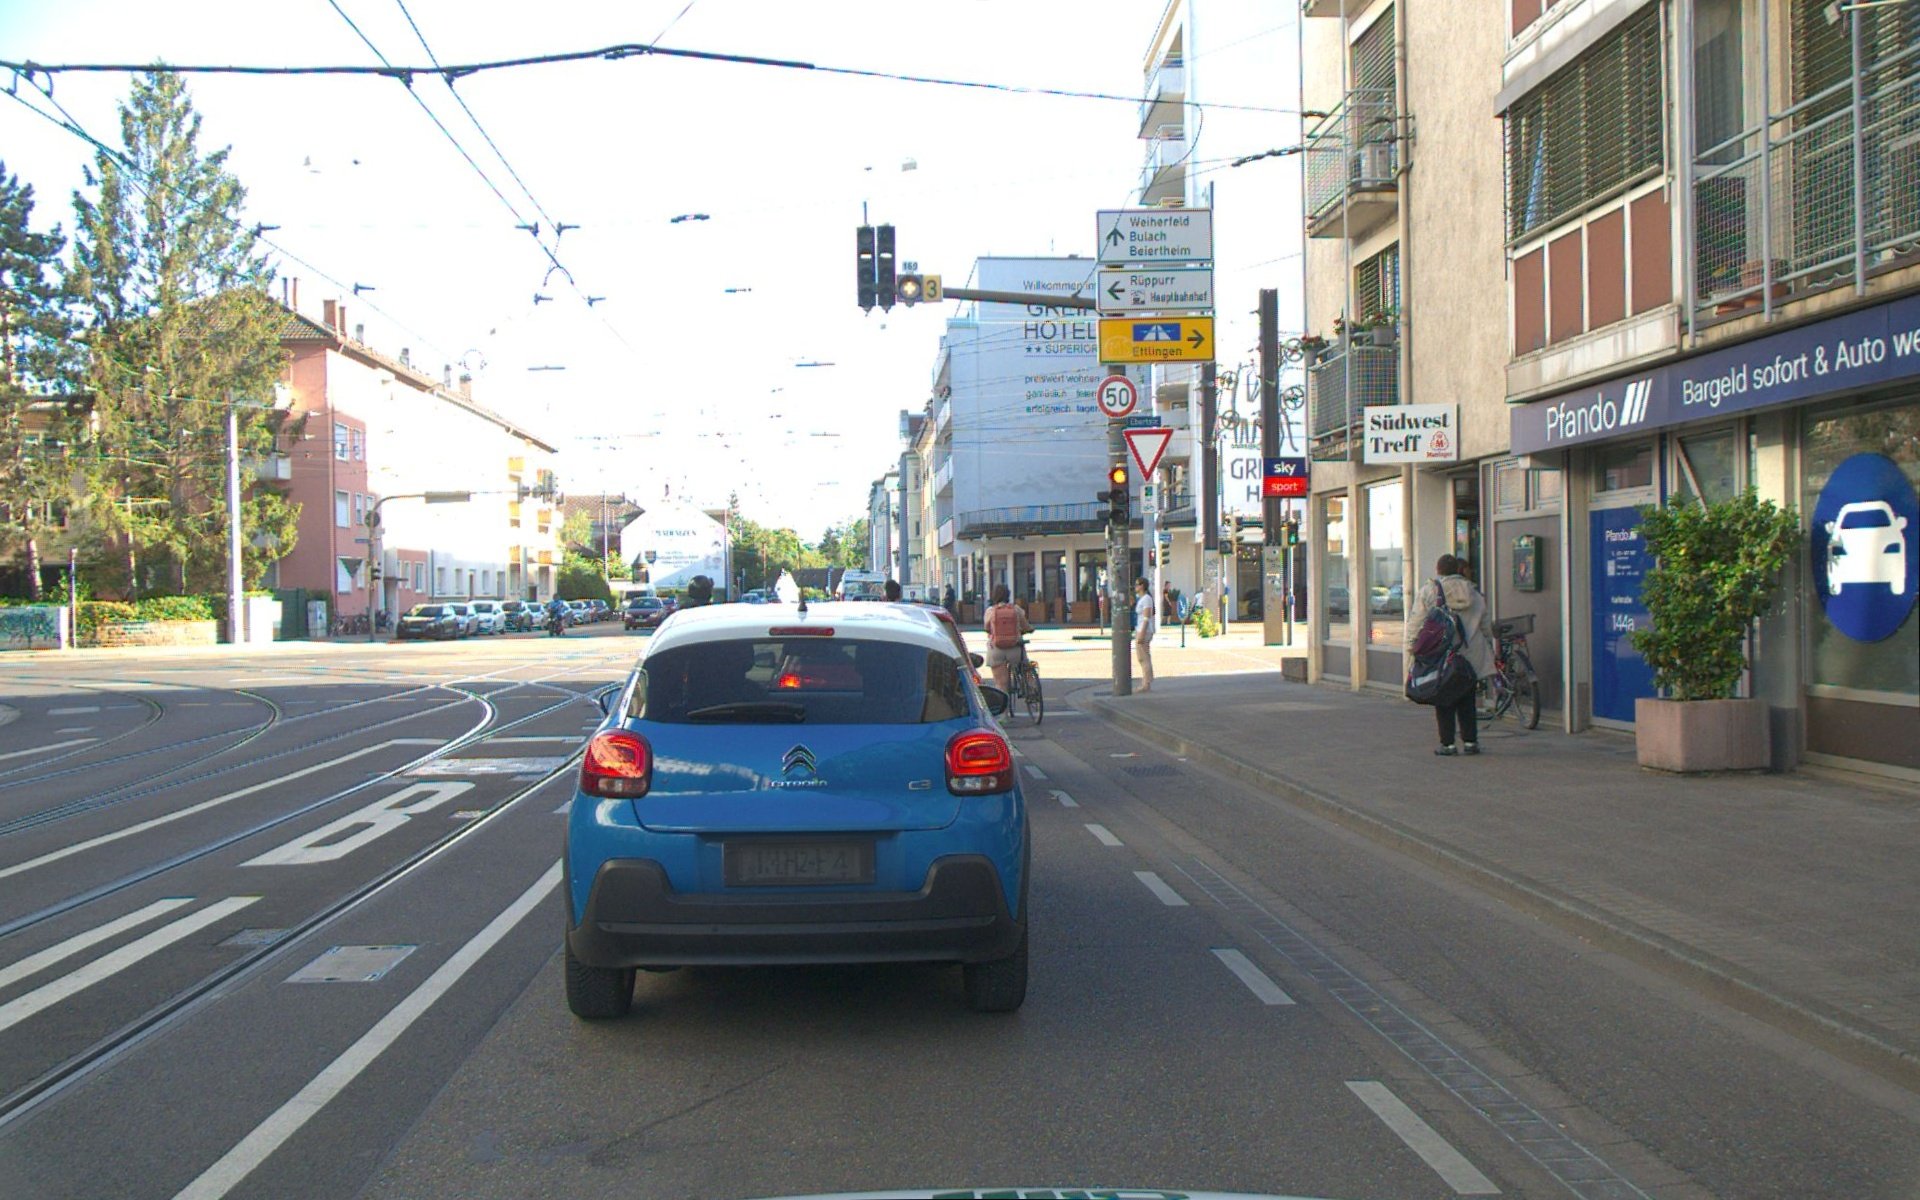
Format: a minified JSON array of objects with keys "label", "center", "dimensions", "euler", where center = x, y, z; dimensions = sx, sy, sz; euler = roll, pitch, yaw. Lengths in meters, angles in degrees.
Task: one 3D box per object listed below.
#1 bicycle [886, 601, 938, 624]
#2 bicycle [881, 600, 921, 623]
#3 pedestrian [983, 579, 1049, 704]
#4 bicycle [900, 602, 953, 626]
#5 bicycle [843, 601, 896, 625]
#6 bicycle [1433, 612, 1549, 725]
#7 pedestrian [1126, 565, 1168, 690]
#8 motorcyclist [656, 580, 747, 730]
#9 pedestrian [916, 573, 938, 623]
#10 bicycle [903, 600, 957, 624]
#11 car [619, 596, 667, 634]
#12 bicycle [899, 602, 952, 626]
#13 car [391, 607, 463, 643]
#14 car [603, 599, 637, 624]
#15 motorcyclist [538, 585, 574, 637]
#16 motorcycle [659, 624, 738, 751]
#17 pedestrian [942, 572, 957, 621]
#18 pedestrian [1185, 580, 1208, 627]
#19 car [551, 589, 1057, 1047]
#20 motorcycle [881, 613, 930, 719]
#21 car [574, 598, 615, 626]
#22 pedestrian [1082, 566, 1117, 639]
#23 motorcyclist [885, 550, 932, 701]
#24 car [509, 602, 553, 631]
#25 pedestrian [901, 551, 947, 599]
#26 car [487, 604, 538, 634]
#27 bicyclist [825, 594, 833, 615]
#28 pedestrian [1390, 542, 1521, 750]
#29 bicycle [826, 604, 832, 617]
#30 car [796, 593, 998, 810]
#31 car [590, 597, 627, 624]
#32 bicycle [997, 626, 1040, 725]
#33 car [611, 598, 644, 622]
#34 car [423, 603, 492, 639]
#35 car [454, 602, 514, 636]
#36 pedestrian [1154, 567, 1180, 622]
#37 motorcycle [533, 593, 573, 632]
[{"label":"bicycle","center":[-1.970,0.506,68.307],"dimensions":[2.093,0.917,0.366],"euler":[1,-1,-10]},{"label":"bicycle","center":[-2.473,0.489,69.197],"dimensions":[1.751,0.917,0.365],"euler":[1,-1,34]},{"label":"pedestrian","center":[0.678,0.501,20.256],"dimensions":[0.761,1.486,0.681],"euler":[1,-1,-1]},{"label":"bicycle","center":[-1.347,0.573,66.948],"dimensions":[2.093,0.917,0.366],"euler":[1,-1,-10]},{"label":"bicycle","center":[-3.616,0.531,66.235],"dimensions":[2.093,0.917,0.366],"euler":[1,-1,-10]},{"label":"bicycle","center":[5.048,0.626,15.825],"dimensions":[0.531,1.016,1.705],"euler":[1,0,-1]},{"label":"pedestrian","center":[2.742,0.399,24.266],"dimensions":[0.507,1.814,0.595],"euler":[1,-1,-3]},{"label":"motorcyclist","center":[-2.706,0.566,17.368],"dimensions":[0.843,1.531,0.598],"euler":[1,-1,-1]},{"label":"pedestrian","center":[-1.388,-0.076,69.155],"dimensions":[0.625,2.049,0.715],"euler":[1,-1,-37]},{"label":"bicycle","center":[-1.203,0.484,65.896],"dimensions":[2.093,0.917,0.366],"euler":[1,-1,-10]},{"label":"car","center":[-14.564,0.689,76.167],"dimensions":[1.740,1.695,3.853],"euler":[1,0,-4]},{"label":"bicycle","center":[-1.410,0.565,67.356],"dimensions":[2.093,0.917,0.366],"euler":[1,-1,-10]},{"label":"car","center":[-22.002,1.009,68.444],"dimensions":[1.757,1.446,3.994],"euler":[1,0,-2]},{"label":"car","center":[-23.896,0.787,116.394],"dimensions":[1.797,1.716,3.997],"euler":[1,0,-4]},{"label":"motorcyclist","center":[-16.340,0.442,66.846],"dimensions":[1.162,2.049,1.274],"euler":[-1,0,-4]},{"label":"motorcycle","center":[-2.742,0.884,17.503],"dimensions":[0.526,1.240,1.980],"euler":[1,0,-1]},{"label":"pedestrian","center":[-0.433,-0.152,70.216],"dimensions":[0.565,2.049,0.625],"euler":[1,-1,-3]},{"label":"pedestrian","center":[8.340,0.125,58.313],"dimensions":[0.720,1.629,0.749],"euler":[1,-1,12]},{"label":"car","center":[-0.531,0.719,7.147],"dimensions":[1.620,1.469,3.522],"euler":[1,0,-1]},{"label":"motorcycle","center":[-0.618,0.735,19.407],"dimensions":[0.515,1.159,2.289],"euler":[1,0,-1]},{"label":"car","center":[-23.305,0.786,105.588],"dimensions":[1.944,1.716,3.997],"euler":[1,0,-4]},{"label":"pedestrian","center":[3.966,0.075,47.002],"dimensions":[0.907,2.049,0.759],"euler":[1,-1,-1]},{"label":"motorcyclist","center":[-0.610,0.294,19.597],"dimensions":[0.516,1.746,0.717],"euler":[1,-1,-1]},{"label":"car","center":[-23.761,0.917,91.741],"dimensions":[1.699,1.524,3.996],"euler":[1,0,-5]},{"label":"pedestrian","center":[-1.605,-1.079,73.515],"dimensions":[1.953,2.049,3.999],"euler":[1,0,-1]},{"label":"car","center":[-23.173,0.964,85.715],"dimensions":[1.750,1.524,3.997],"euler":[1,0,-4]},{"label":"bicyclist","center":[-9.302,0.329,117.570],"dimensions":[0.550,1.503,0.747],"euler":[1,-1,-3]},{"label":"pedestrian","center":[3.991,0.364,13.362],"dimensions":[0.808,1.620,0.751],"euler":[1,-1,-1]},{"label":"bicycle","center":[-9.316,0.750,117.756],"dimensions":[0.342,0.919,1.858],"euler":[1,0,-2]},{"label":"car","center":[-0.466,0.720,13.097],"dimensions":[1.395,1.493,2.923],"euler":[-1,0,-1]},{"label":"car","center":[-23.544,0.680,110.859],"dimensions":[1.845,1.716,3.997],"euler":[1,0,-4]},{"label":"bicycle","center":[0.710,0.907,20.492],"dimensions":[0.419,1.142,1.998],"euler":[1,0,-1]},{"label":"car","center":[-24.273,0.710,120.906],"dimensions":[1.809,1.716,3.871],"euler":[1,0,-4]},{"label":"car","center":[-22.225,0.911,73.255],"dimensions":[1.778,1.524,4.299],"euler":[1,0,-1]},{"label":"car","center":[-22.667,0.883,78.959],"dimensions":[1.751,1.537,4.148],"euler":[1,0,-2]},{"label":"pedestrian","center":[7.850,-0.211,62.720],"dimensions":[0.743,2.049,0.710],"euler":[1,-1,30]},{"label":"motorcycle","center":[-16.371,0.497,66.582],"dimensions":[0.905,1.512,3.723],"euler":[1,0,-4]}]
